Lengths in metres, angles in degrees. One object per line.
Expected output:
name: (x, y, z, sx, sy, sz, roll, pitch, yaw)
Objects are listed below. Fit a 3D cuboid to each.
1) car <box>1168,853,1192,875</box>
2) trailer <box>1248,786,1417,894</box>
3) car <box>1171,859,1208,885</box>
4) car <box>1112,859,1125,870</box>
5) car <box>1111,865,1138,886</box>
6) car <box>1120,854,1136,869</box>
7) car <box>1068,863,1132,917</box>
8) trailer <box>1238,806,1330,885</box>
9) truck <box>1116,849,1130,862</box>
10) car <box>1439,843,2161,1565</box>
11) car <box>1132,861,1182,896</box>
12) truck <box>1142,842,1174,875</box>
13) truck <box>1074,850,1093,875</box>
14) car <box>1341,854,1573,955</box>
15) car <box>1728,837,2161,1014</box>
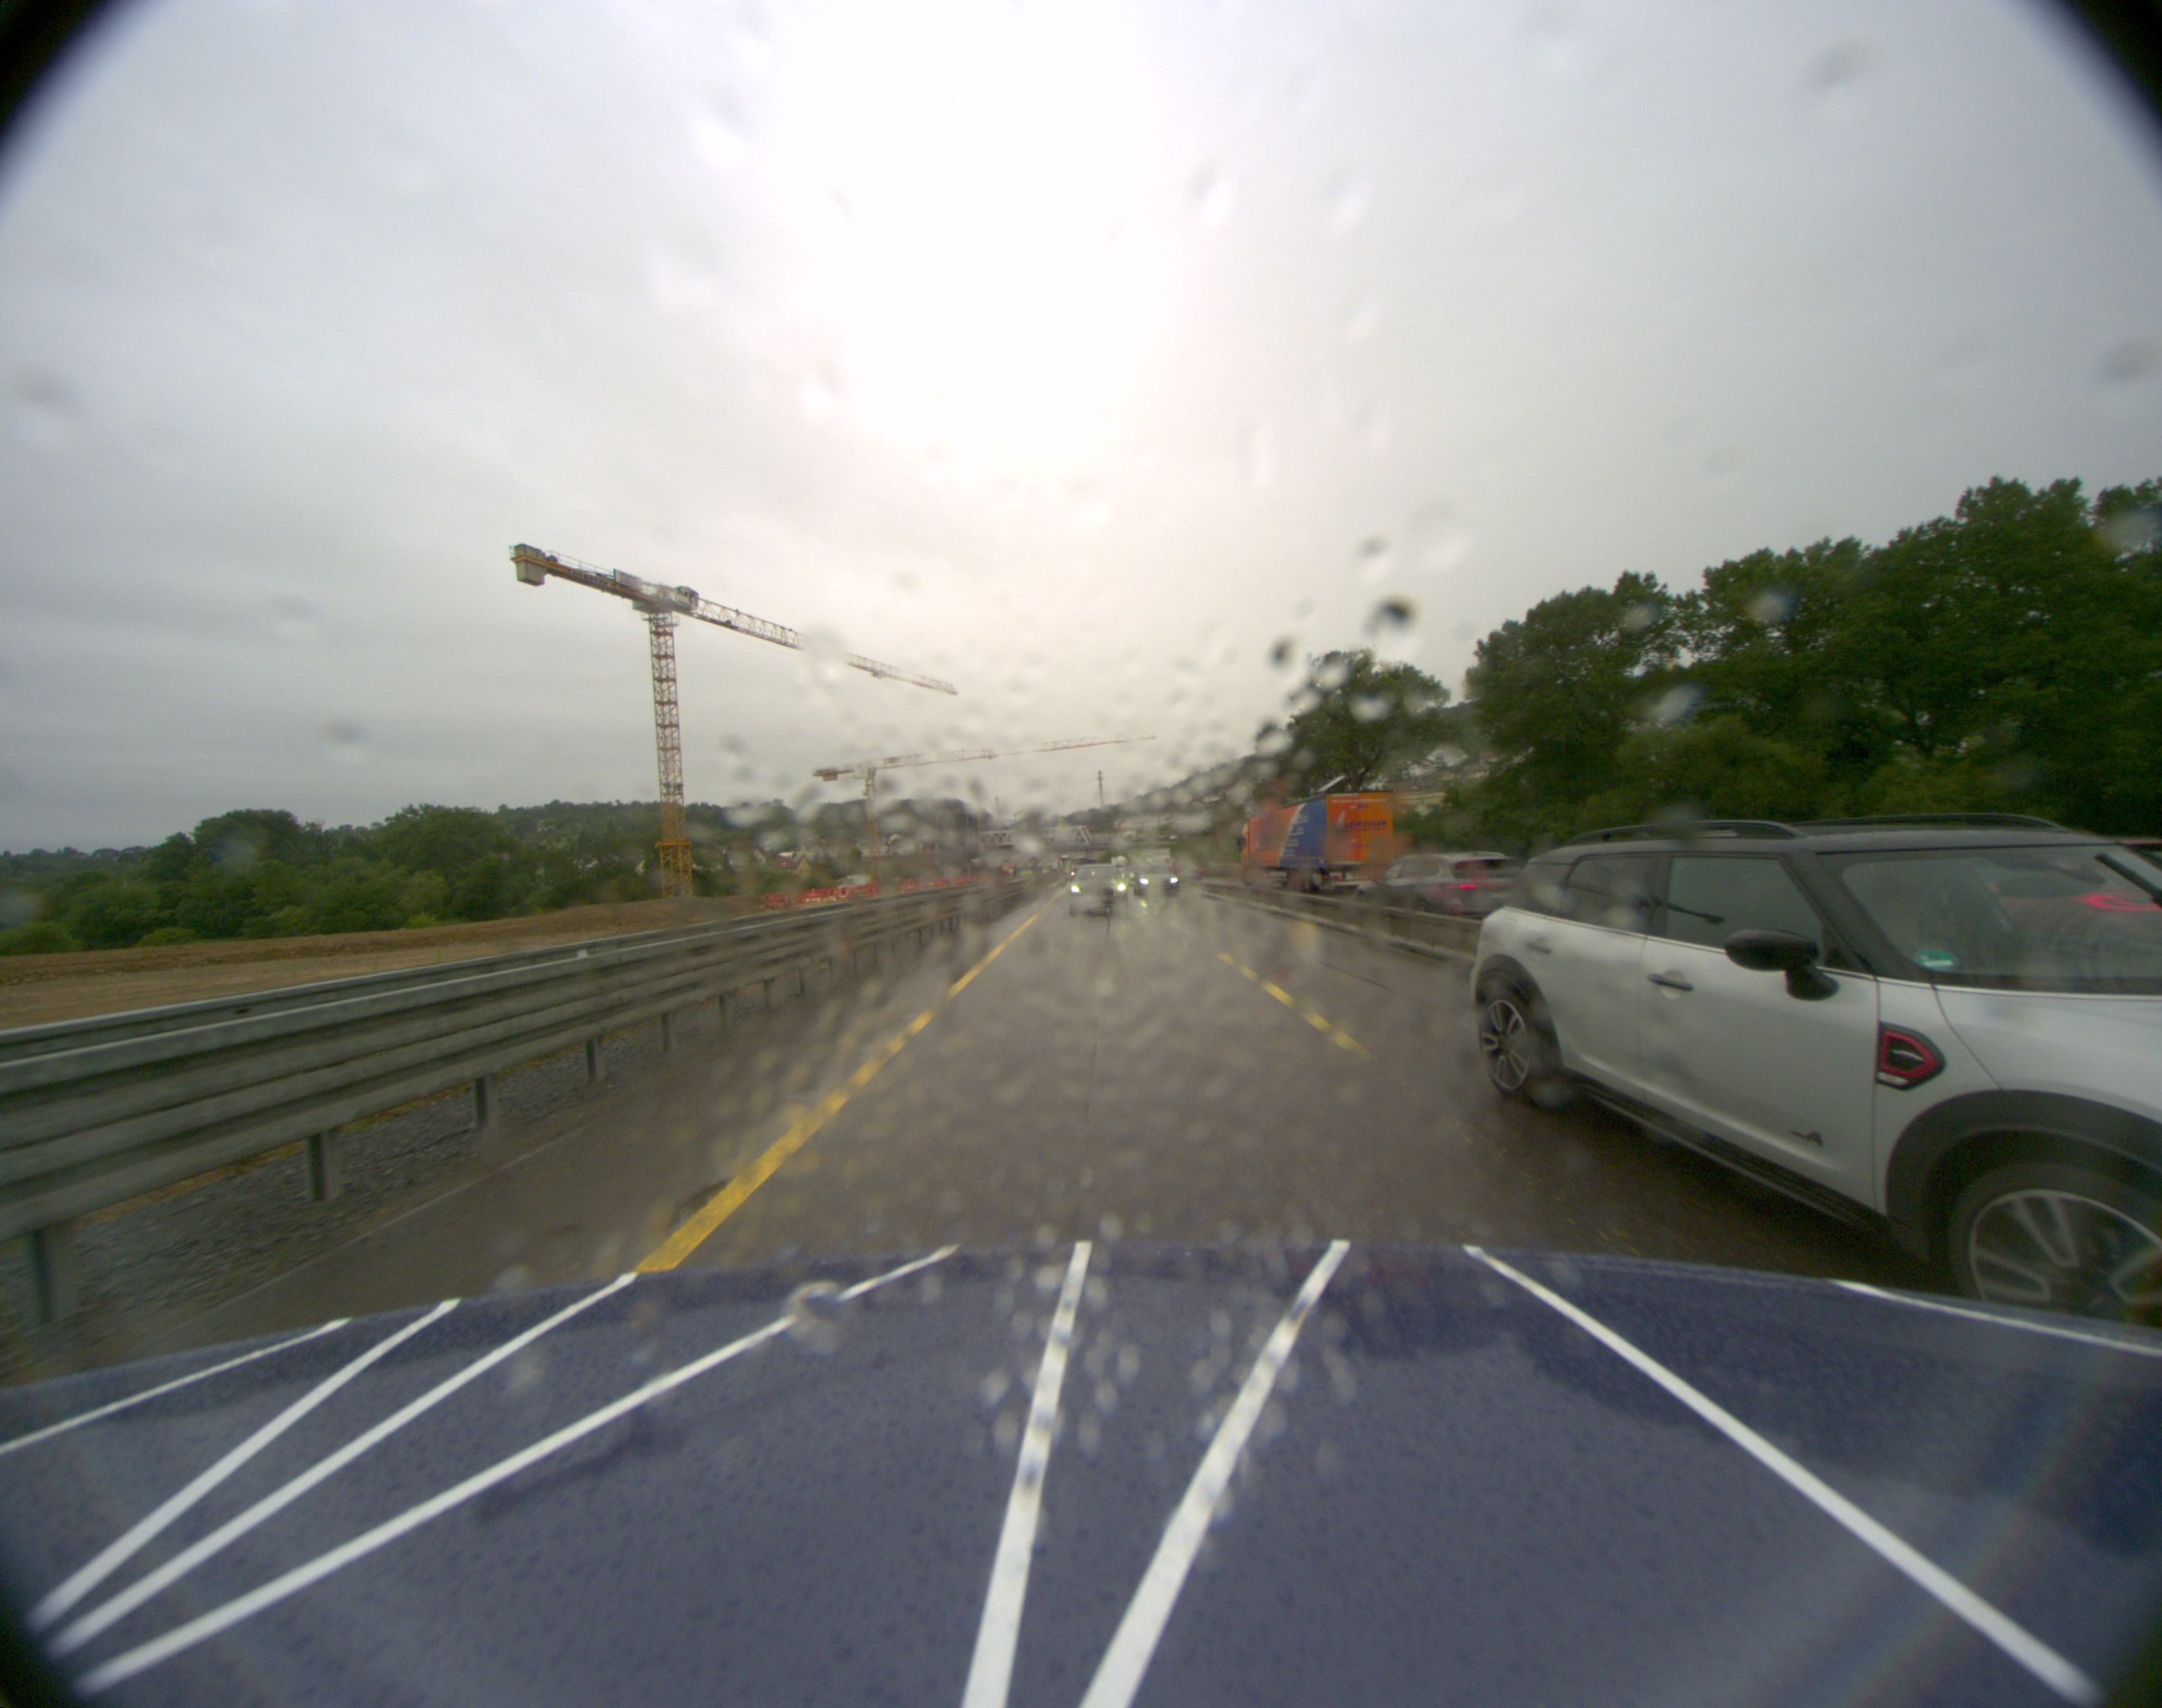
car: (9.836, 0.958, 75.453, 1.907, 2.002, 3.999, 0, 1, 1)
trailer: (10.922, -0.451, 35.267, 3.285, 3.885, 13.700, -2, -1, 1)
car: (7.128, 1.157, 50.359, 1.836, 1.501, 4.126, -2, 0, 1)
car: (6.493, 1.808, 131.643, 2.165, 2.002, 4.479, 0, 0, 1)
car: (3.282, 1.614, 57.988, 1.781, 1.430, 4.483, -2, 0, 1)
car: (6.322, 1.028, 101.901, 1.907, 2.002, 4.000, 0, 0, 1)
car: (0.579, 1.065, 24.091, 1.781, 1.514, 4.141, -2, -1, 1)
trailer: (11.004, -0.385, 41.876, 3.278, 3.895, 6.352, -2, 0, 1)
truck: (9.611, 0.260, 174.984, 2.800, 2.769, 5.497, -2, 0, 0)
car: (3.344, 0.786, 2.999, 1.820, 1.591, 4.308, -2, 0, 1)
car: (3.559, 1.132, 36.375, 1.951, 1.430, 4.483, -2, 0, 1)
truck: (7.254, 0.395, 72.195, 2.413, 2.976, 6.539, -2, 0, 1)
truck: (0.380, 1.158, 110.949, 2.576, 3.450, 6.626, -2, 0, 1)
car: (6.783, 0.796, 14.440, 1.978, 1.501, 4.745, -2, 0, -1)
car: (10.217, 0.603, 8.775, 1.822, 1.501, 4.306, -2, 0, 1)
